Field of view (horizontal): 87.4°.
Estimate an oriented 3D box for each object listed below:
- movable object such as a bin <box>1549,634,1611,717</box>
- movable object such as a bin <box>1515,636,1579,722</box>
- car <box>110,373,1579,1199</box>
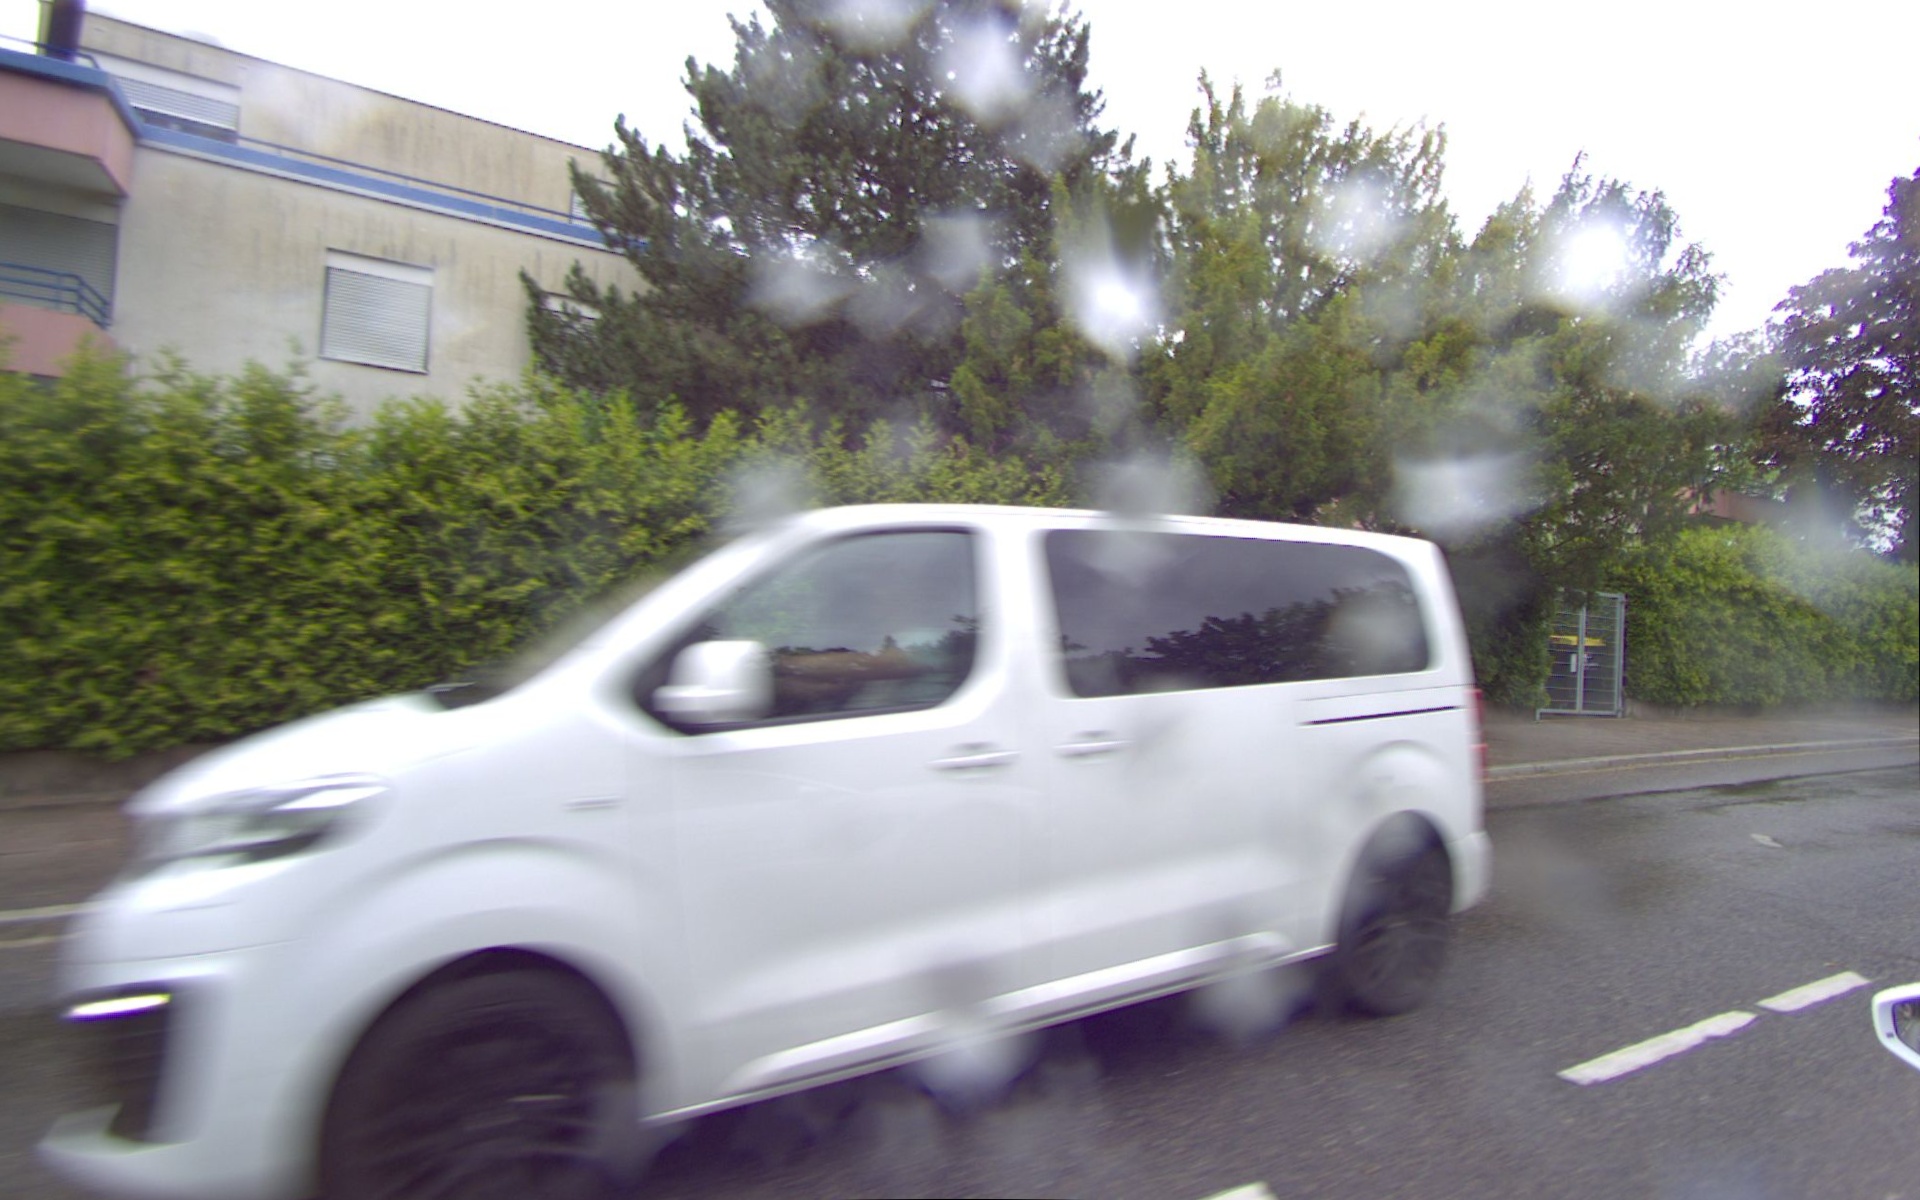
[{"bbox_3d":[10.466,1.260,16.953,0.796,1.343,0.545,1,0,-28],"label":"movable object such as a bin"},{"bbox_3d":[9.579,1.279,16.405,0.796,1.343,0.545,1,0,-28],"label":"movable object such as a bin"},{"bbox_3d":[0.094,0.614,3.973,4.969,1.941,1.855,1,-3,-30],"label":"car"}]
